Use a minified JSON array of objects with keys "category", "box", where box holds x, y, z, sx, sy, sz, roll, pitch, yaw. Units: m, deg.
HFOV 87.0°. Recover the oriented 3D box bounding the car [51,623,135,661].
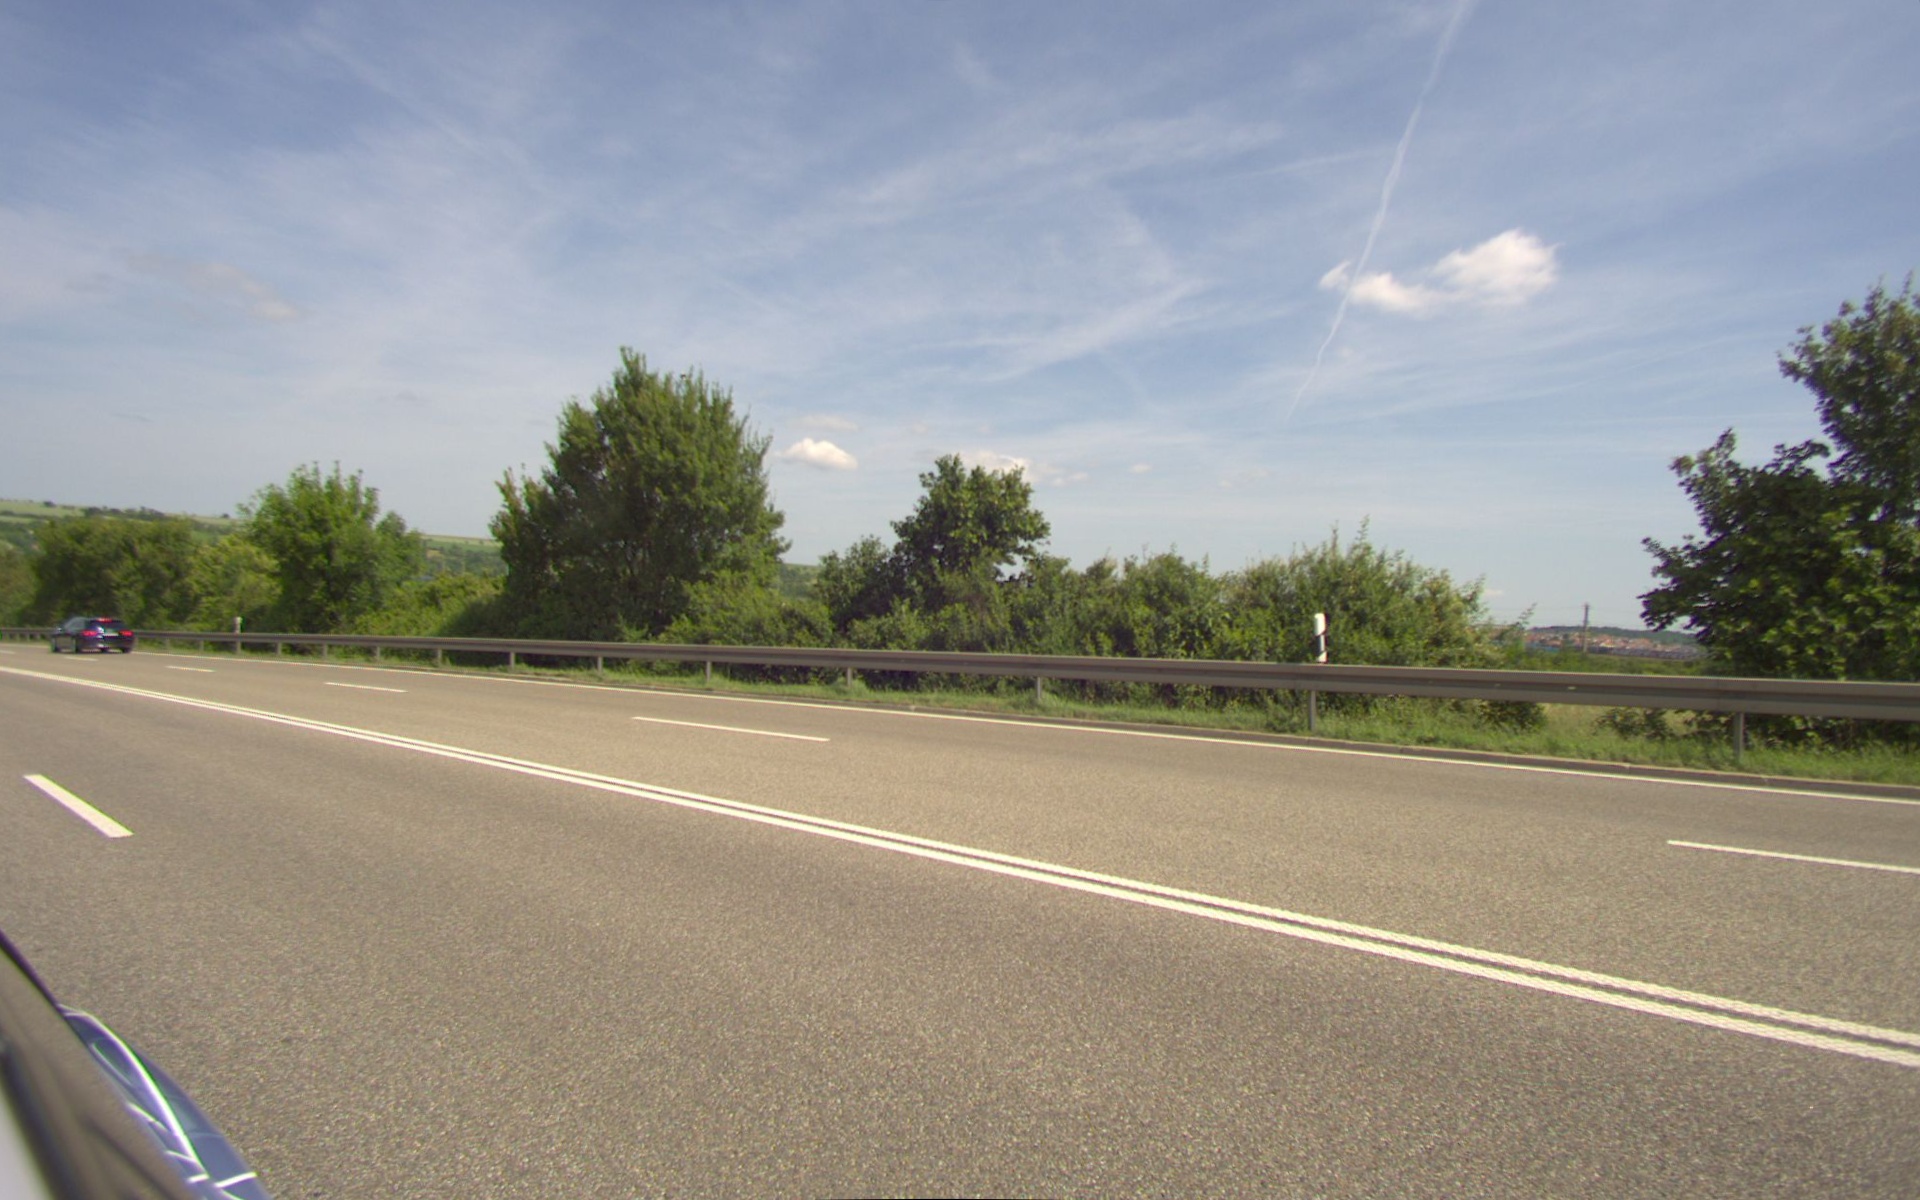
[{"category":"car","box":[-35.469,1.683,41.379,4.321,1.466,1.818,-1,-2,39]}]
